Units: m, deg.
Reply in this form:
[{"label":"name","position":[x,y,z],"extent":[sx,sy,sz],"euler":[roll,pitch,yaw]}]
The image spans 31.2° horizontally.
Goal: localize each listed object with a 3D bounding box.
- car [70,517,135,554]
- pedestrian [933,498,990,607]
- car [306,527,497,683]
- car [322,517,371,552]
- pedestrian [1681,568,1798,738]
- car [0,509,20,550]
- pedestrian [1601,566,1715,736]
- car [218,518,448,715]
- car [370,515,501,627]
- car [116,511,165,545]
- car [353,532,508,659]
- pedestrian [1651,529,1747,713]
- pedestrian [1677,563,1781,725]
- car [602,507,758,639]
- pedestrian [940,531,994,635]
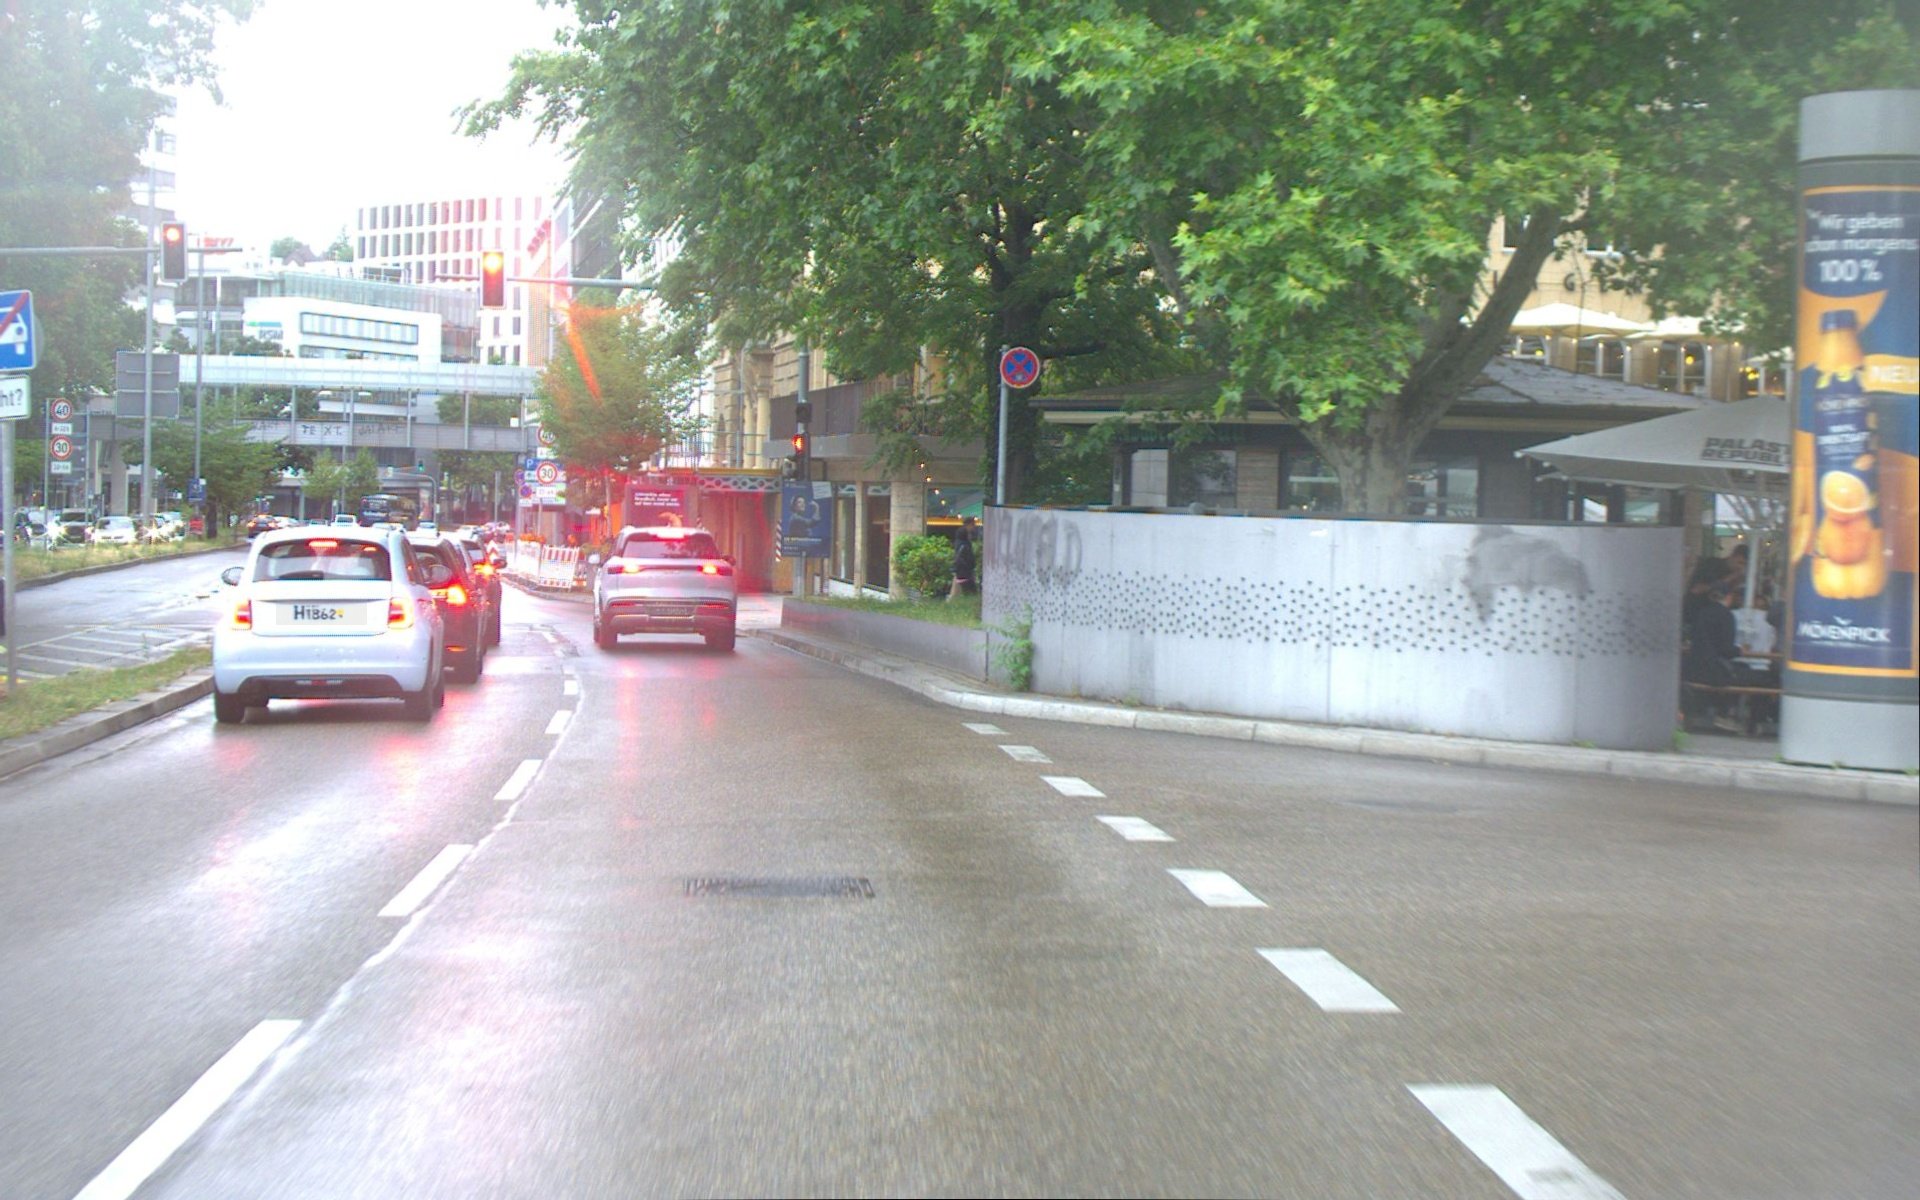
[{"label":"car","position":[-34.447,-2.618,138.190],"extent":[2.158,1.458,4.347],"euler":[-1,1,-9]},{"label":"pedestrian","position":[0.020,-0.784,56.913],"extent":[0.859,1.774,0.718],"euler":[1,0,-3]},{"label":"car","position":[-5.608,0.003,34.886],"extent":[1.691,1.458,4.131],"euler":[0,1,-6]},{"label":"car","position":[-25.726,-2.754,144.311],"extent":[1.978,1.458,4.347],"euler":[-1,1,-9]},{"label":"pedestrian","position":[6.752,0.448,29.805],"extent":[0.684,1.405,0.905],"euler":[4,0,-2]},{"label":"car","position":[-36.520,-2.647,129.299],"extent":[1.794,1.505,4.501],"euler":[-1,1,-9]},{"label":"pedestrian","position":[6.032,0.432,29.754],"extent":[0.684,1.405,0.905],"euler":[4,0,-2]},{"label":"car","position":[-5.043,0.084,27.978],"extent":[1.590,1.486,3.506],"euler":[0,1,-6]},{"label":"car","position":[-7.253,-0.436,47.473],"extent":[1.691,1.458,4.347],"euler":[-1,1,-9]},{"label":"car","position":[-37.194,-3.290,156.124],"extent":[1.794,1.505,4.501],"euler":[-1,1,-9]},{"label":"car","position":[-6.449,-0.095,42.234],"extent":[1.691,1.458,4.346],"euler":[0,1,-6]},{"label":"pedestrian","position":[6.960,0.190,32.373],"extent":[0.723,1.696,0.617],"euler":[2,0,25]},{"label":"pedestrian","position":[6.977,0.392,31.212],"extent":[0.684,1.405,0.660],"euler":[4,0,-2]},{"label":"car","position":[-3.885,-0.388,47.089],"extent":[1.946,1.660,4.346],"euler":[2,1,-6]},{"label":"pedestrian","position":[0.120,-0.297,59.348],"extent":[0.859,1.774,0.718],"euler":[1,0,-3]}]
